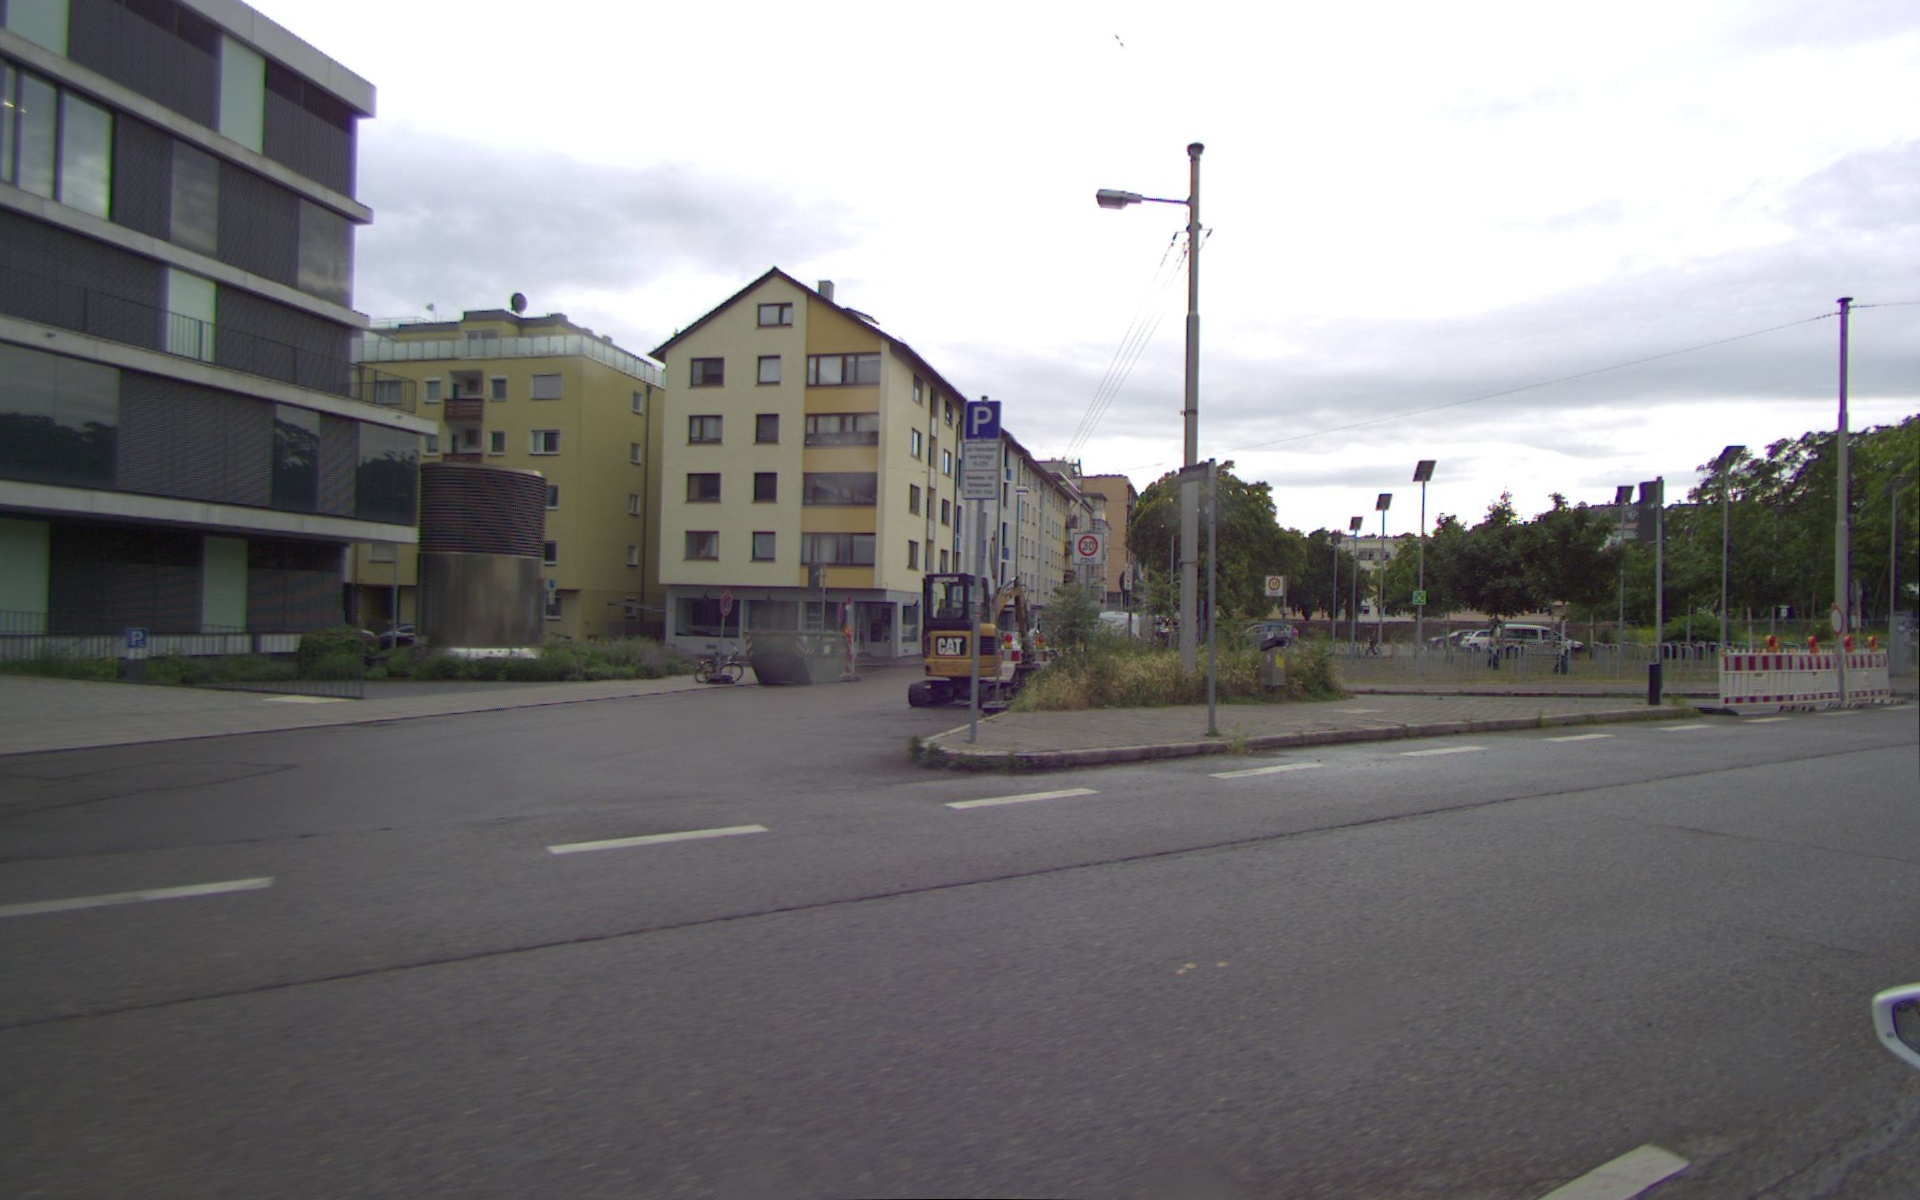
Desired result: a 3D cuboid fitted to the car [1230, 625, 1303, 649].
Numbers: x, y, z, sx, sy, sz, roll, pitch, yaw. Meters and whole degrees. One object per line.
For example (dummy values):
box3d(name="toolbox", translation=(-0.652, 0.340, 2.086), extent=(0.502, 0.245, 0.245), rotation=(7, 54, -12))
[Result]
box3d(name="car", translation=(21.444, 2.611, 70.543), extent=(4.806, 1.646, 2.127), rotation=(0, -3, 15))

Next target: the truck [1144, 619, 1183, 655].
box3d(name="truck", translation=(31.652, 5.731, 155.999), extent=(5.497, 5.211, 15.716), rotation=(-2, -2, 12))

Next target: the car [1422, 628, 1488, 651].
box3d(name="car", translation=(35.780, 2.851, 72.668), extent=(3.919, 1.647, 1.801), rotation=(0, -1, 12))

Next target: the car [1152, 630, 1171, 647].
box3d(name="car", translation=(19.277, 3.691, 96.002), extent=(1.764, 1.530, 4.003), rotation=(-2, -2, 12))

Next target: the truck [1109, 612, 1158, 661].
box3d(name="truck", translation=(11.200, 2.359, 64.472), extent=(2.724, 2.970, 5.294), rotation=(-2, -2, 13))

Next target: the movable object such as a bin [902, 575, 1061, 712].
box3d(name="movable object such as a bin", translation=(0.621, 0.822, 20.983), extent=(1.638, 2.492, 5.288), rotation=(0, -1, 21))

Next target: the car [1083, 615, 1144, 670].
box3d(name="car", translation=(7.500, 2.054, 48.654), extent=(2.620, 2.445, 5.738), rotation=(-2, -2, 11))

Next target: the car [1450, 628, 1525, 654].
box3d(name="car", translation=(34.118, 2.658, 65.079), extent=(3.919, 1.647, 1.801), rotation=(0, -1, 12))

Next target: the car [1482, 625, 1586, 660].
box3d(name="car", translation=(31.565, 2.328, 55.382), extent=(4.597, 1.858, 2.001), rotation=(0, -1, 12))

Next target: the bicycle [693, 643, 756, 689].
box3d(name="bicycle", translation=(-6.530, 1.810, 27.837), extent=(1.771, 1.122, 0.714), rotation=(3, 1, 37))
